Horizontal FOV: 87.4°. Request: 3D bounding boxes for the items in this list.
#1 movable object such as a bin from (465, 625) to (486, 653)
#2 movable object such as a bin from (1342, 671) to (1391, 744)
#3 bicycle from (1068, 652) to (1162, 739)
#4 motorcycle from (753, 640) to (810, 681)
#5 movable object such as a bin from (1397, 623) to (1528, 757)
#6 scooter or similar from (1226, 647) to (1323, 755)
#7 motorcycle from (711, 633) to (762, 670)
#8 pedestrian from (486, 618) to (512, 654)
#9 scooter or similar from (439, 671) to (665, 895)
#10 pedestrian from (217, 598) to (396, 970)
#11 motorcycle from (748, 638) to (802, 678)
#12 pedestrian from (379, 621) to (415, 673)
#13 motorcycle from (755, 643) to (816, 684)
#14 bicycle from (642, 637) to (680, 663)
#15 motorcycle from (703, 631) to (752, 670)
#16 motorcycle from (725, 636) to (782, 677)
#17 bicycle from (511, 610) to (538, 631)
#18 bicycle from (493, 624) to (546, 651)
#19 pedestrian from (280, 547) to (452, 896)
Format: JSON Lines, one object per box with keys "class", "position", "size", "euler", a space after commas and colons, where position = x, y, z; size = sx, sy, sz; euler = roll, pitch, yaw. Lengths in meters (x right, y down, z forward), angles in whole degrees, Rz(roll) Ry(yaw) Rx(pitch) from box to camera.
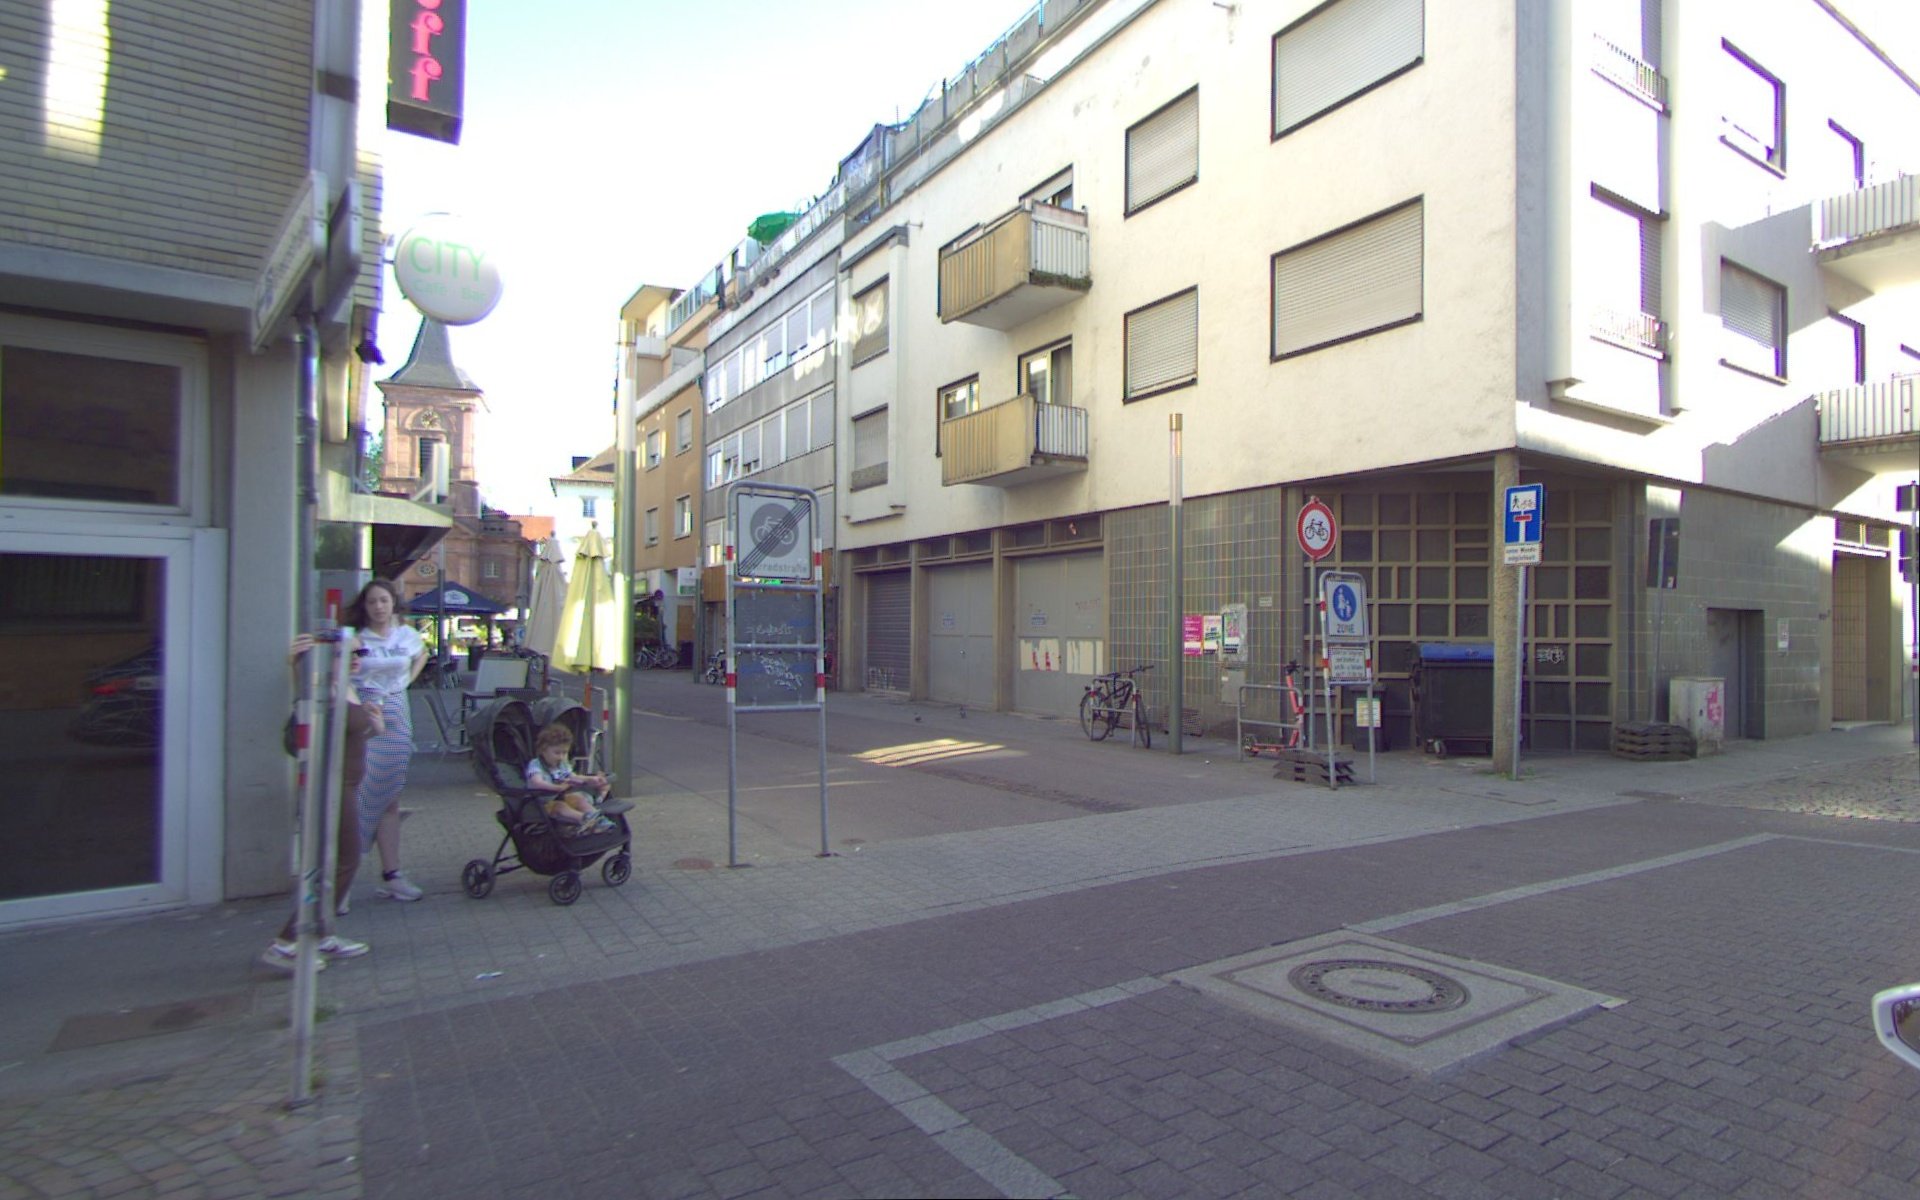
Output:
{"class": "movable object such as a bin", "position": [-19.633, 1.582, 40.730], "size": [0.716, 1.089, 0.371], "euler": [1, -1, -34]}
{"class": "movable object such as a bin", "position": [5.528, 1.451, 13.675], "size": [0.530, 0.936, 0.513], "euler": [0, -1, 11]}
{"class": "bicycle", "position": [2.206, 1.334, 14.482], "size": [0.442, 1.154, 1.698], "euler": [2, -3, -26]}
{"class": "motorcycle", "position": [-4.846, 1.648, 27.333], "size": [1.496, 1.090, 0.411], "euler": [1, -1, -14]}
{"class": "movable object such as a bin", "position": [6.521, 1.129, 13.129], "size": [1.265, 1.610, 1.156], "euler": [1, 0, 13]}
{"class": "scooter or similar", "position": [3.945, 1.241, 12.670], "size": [0.305, 1.269, 1.227], "euler": [2, -1, -35]}
{"class": "motorcycle", "position": [-6.689, 1.539, 30.096], "size": [1.463, 1.090, 0.411], "euler": [1, -1, -14]}
{"class": "pedestrian", "position": [-19.450, 1.523, 42.367], "size": [0.876, 1.483, 0.725], "euler": [1, -1, -31]}
{"class": "scooter or similar", "position": [-2.414, 1.046, 6.030], "size": [0.934, 1.159, 0.799], "euler": [2, 0, 10]}
{"class": "pedestrian", "position": [-2.995, 0.805, 4.643], "size": [0.502, 1.601, 0.533], "euler": [2, 2, -10]}
{"class": "motorcycle", "position": [-5.191, 1.619, 28.215], "size": [1.463, 1.090, 0.411], "euler": [1, -1, -14]}
{"class": "pedestrian", "position": [-15.380, 1.265, 27.439], "size": [0.705, 1.386, 0.710], "euler": [2, -1, -44]}
{"class": "motorcycle", "position": [-4.599, 1.658, 26.471], "size": [1.542, 1.055, 0.371], "euler": [1, -1, -14]}
{"class": "bicycle", "position": [-12.236, 2.046, 41.108], "size": [1.448, 1.018, 0.569], "euler": [1, -1, -25]}
{"class": "motorcycle", "position": [-7.290, 1.586, 31.497], "size": [1.464, 1.197, 0.411], "euler": [1, -1, -17]}
{"class": "motorcycle", "position": [-6.013, 1.640, 29.272], "size": [1.602, 1.190, 0.479], "euler": [1, -1, -14]}
{"class": "bicycle", "position": [-26.855, 1.271, 61.960], "size": [0.359, 1.325, 1.589], "euler": [1, -1, 29]}
{"class": "bicycle", "position": [-17.078, 1.458, 38.949], "size": [1.812, 1.018, 0.377], "euler": [2, -1, -36]}
{"class": "pedestrian", "position": [-3.316, 0.642, 5.654], "size": [0.560, 1.844, 0.659], "euler": [2, 2, -3]}
